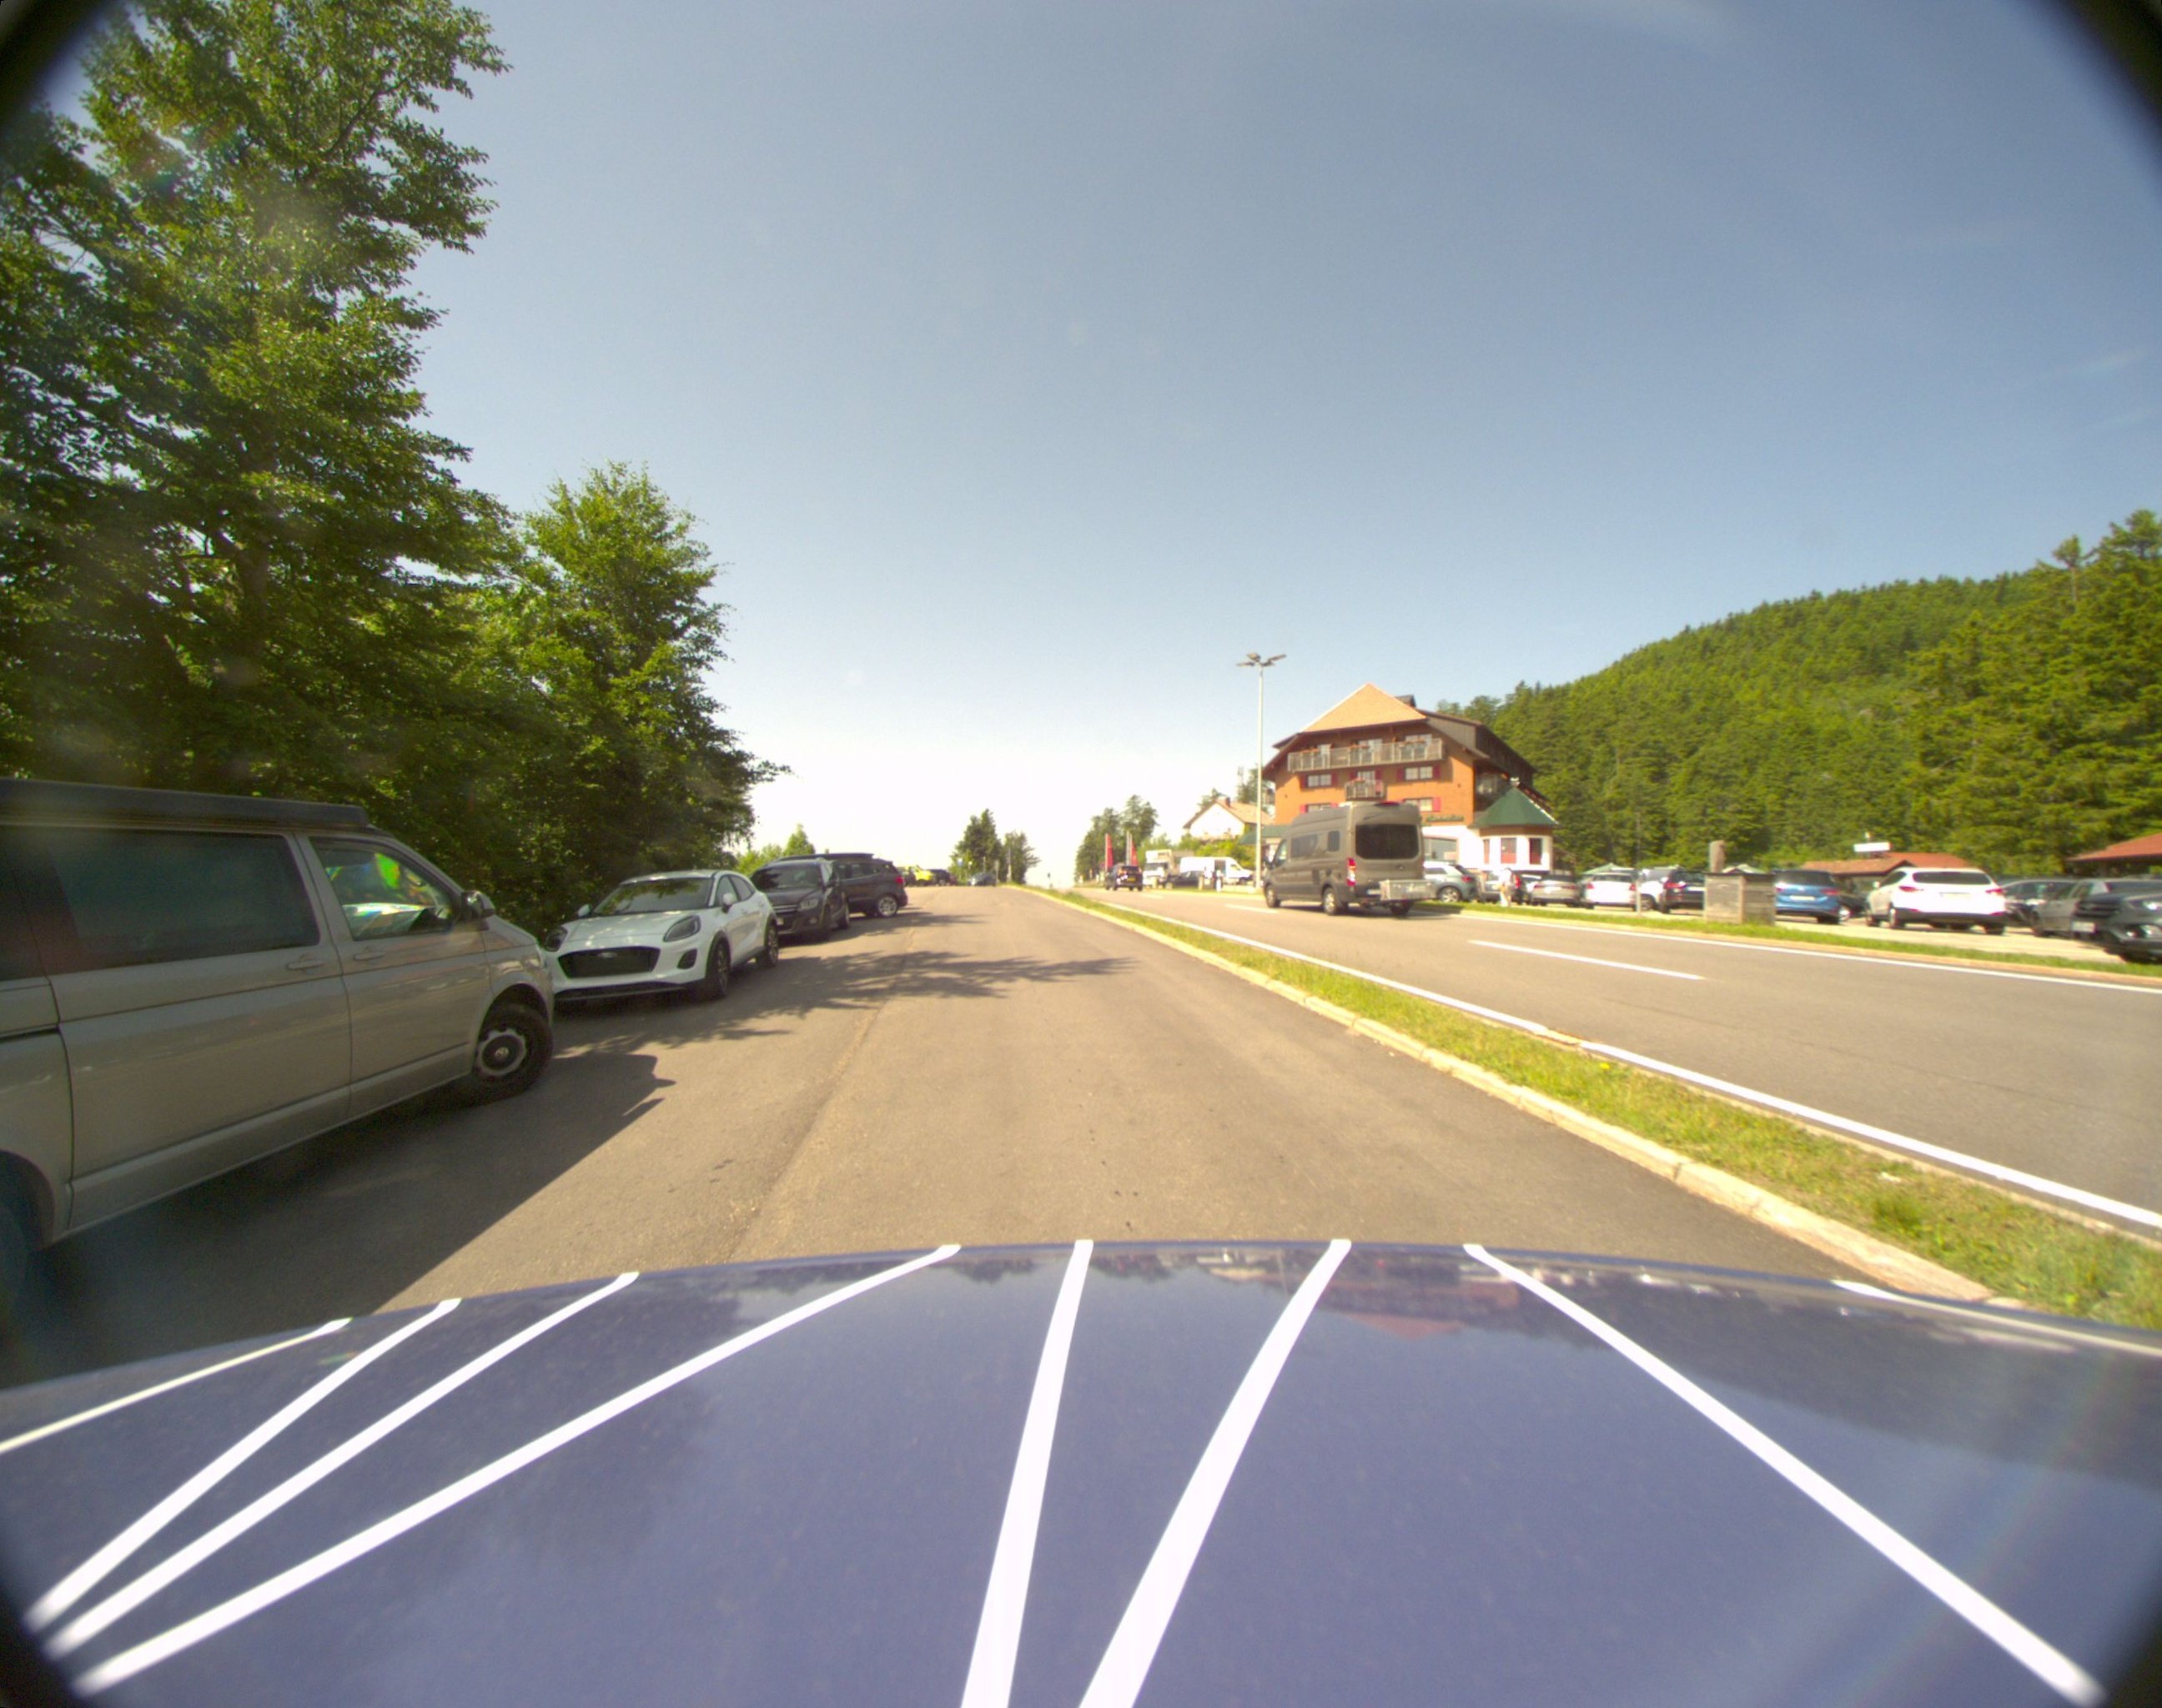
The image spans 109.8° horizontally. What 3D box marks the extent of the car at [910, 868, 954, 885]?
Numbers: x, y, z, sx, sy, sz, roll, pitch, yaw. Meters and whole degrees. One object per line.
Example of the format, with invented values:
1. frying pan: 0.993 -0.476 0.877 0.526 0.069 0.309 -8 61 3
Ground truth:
1. car: -14.125 2.104 72.076 3.912 1.605 1.875 0 0 -6

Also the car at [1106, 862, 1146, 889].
1. car: 2.840 1.354 48.883 1.722 1.672 4.127 0 0 -8

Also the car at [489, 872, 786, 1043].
1. car: -5.251 1.079 9.703 1.876 1.538 3.997 -3 0 -9

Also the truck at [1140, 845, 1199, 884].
1. truck: 9.552 1.119 80.991 2.877 3.798 9.035 -2 -1 29

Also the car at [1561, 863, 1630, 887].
1. car: 37.746 1.521 55.792 4.083 1.705 1.925 0 0 36

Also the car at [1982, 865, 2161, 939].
1. car: 25.779 1.158 18.828 4.083 1.705 1.925 0 0 35

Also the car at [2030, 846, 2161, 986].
1. car: 14.758 0.752 8.703 4.539 1.646 1.726 0 0 33

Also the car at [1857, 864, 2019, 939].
1. car: 22.225 1.138 19.914 1.915 1.705 4.104 1 0 35

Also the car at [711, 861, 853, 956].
1. car: -6.053 1.005 15.895 1.876 1.609 3.997 -3 0 -9

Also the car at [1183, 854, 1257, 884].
1. car: 13.502 1.442 74.107 6.954 2.774 2.669 0 0 10

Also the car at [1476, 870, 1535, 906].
1. car: 19.658 1.511 35.101 1.819 1.504 4.104 1 0 37

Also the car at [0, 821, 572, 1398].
1. car: -4.662 0.909 3.414 1.862 1.924 4.607 -4 0 -5

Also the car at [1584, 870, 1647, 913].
1. car: 20.422 1.366 28.967 1.819 1.504 4.104 1 0 37

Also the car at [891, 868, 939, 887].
1. car: -14.470 2.037 66.525 3.912 1.605 1.875 0 0 -6

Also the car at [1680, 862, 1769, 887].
1. car: 46.840 1.485 55.471 4.832 1.705 1.925 0 0 36

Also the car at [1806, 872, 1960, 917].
1. car: 33.573 1.660 31.998 4.083 1.705 1.924 0 0 32

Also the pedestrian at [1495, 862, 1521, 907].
1. pedestrian: 15.754 1.123 28.062 0.744 1.615 0.684 0 0 21

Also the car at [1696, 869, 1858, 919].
1. car: 25.029 1.396 27.532 4.083 1.619 1.828 0 0 34

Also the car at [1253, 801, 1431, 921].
1. car: 6.668 0.191 20.330 2.018 2.735 5.913 0 0 -8

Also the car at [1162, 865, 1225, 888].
1. car: 8.021 1.585 54.243 4.083 1.518 1.828 1 0 31

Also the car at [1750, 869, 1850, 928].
1. car: 22.266 1.302 23.682 1.819 1.619 4.104 1 0 37

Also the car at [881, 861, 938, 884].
1. car: -14.249 1.525 63.309 4.459 1.914 1.875 0 0 -6

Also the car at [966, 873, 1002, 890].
1. car: -9.597 2.709 75.382 1.872 1.605 3.920 0 0 22

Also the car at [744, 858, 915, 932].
1. car: -6.700 1.031 20.316 4.005 1.609 1.872 -3 0 -28

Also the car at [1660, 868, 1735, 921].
1. car: 21.088 1.313 26.122 1.819 1.619 4.104 1 0 37

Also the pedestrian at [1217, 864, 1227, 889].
1. pedestrian: 10.768 1.725 57.981 0.673 1.853 0.752 0 0 4

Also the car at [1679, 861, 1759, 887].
1. car: 43.976 1.334 52.497 4.083 1.705 1.925 0 0 36

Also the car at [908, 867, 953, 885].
1. car: -13.737 1.981 69.497 3.912 1.605 1.875 0 0 -6

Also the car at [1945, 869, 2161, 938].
1. car: 27.254 1.316 20.975 4.083 1.705 1.924 0 0 32

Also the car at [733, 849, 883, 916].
1. car: -9.278 0.918 25.874 4.466 1.914 1.872 -3 0 -28

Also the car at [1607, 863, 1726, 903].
1. car: 25.782 1.243 33.649 4.083 1.619 1.828 0 0 34

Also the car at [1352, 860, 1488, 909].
1. car: 12.365 1.045 27.767 4.259 1.619 1.828 0 0 34

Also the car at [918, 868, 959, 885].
1. car: -14.276 2.254 76.145 3.912 1.605 1.875 0 0 -6

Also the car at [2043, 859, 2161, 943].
1. car: 23.528 0.991 15.736 4.083 1.705 1.925 0 0 35

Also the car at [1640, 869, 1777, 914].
1. car: 25.147 1.466 30.662 4.083 1.619 1.828 0 0 34

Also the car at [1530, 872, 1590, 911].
1. car: 20.470 1.549 32.413 1.819 1.504 4.104 1 0 37

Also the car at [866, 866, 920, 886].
1. car: -14.913 1.735 60.468 3.912 1.605 1.875 0 0 -6
